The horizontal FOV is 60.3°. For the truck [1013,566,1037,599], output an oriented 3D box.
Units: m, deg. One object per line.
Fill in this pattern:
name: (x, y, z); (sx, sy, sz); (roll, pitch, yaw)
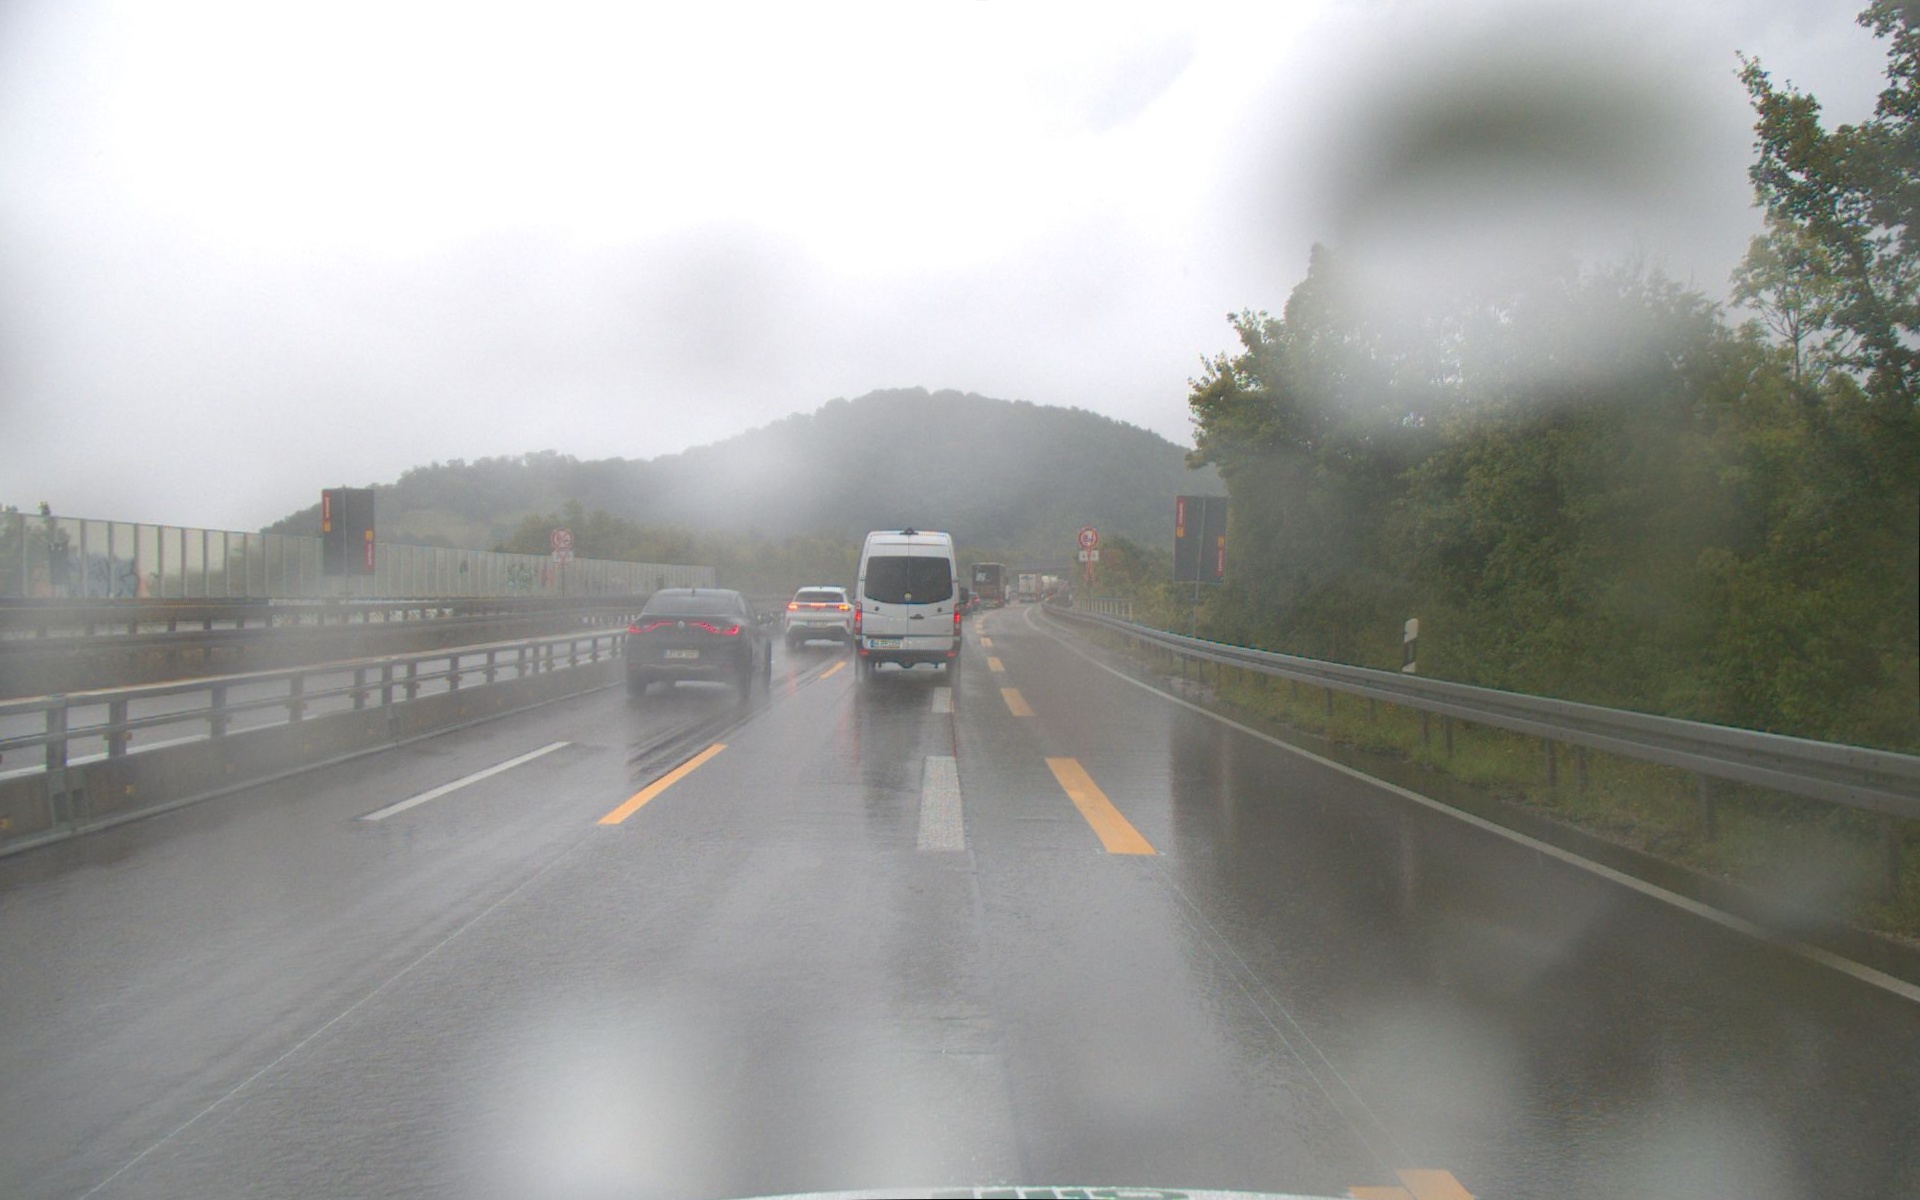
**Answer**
truck: (9.198, -2.409, 232.604); (2.972, 4.483, 9.629); (1, 0, 5)

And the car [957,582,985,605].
car: (0.756, -0.425, 113.787); (1.737, 1.501, 4.001); (1, 0, 2)

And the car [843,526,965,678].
car: (-0.973, 0.041, 31.469); (2.101, 2.616, 5.389); (1, 0, 0)

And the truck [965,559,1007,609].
truck: (2.494, -1.414, 154.001); (3.506, 4.483, 9.627); (1, 0, 3)

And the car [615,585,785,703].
car: (-3.851, 0.616, 25.220); (1.953, 1.613, 4.412); (1, 0, -1)

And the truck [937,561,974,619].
truck: (-0.200, -0.532, 94.557); (1.952, 3.163, 8.499); (1, 0, 1)

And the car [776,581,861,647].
car: (-3.730, 0.351, 44.469); (1.953, 1.646, 4.795); (1, 0, -1)
